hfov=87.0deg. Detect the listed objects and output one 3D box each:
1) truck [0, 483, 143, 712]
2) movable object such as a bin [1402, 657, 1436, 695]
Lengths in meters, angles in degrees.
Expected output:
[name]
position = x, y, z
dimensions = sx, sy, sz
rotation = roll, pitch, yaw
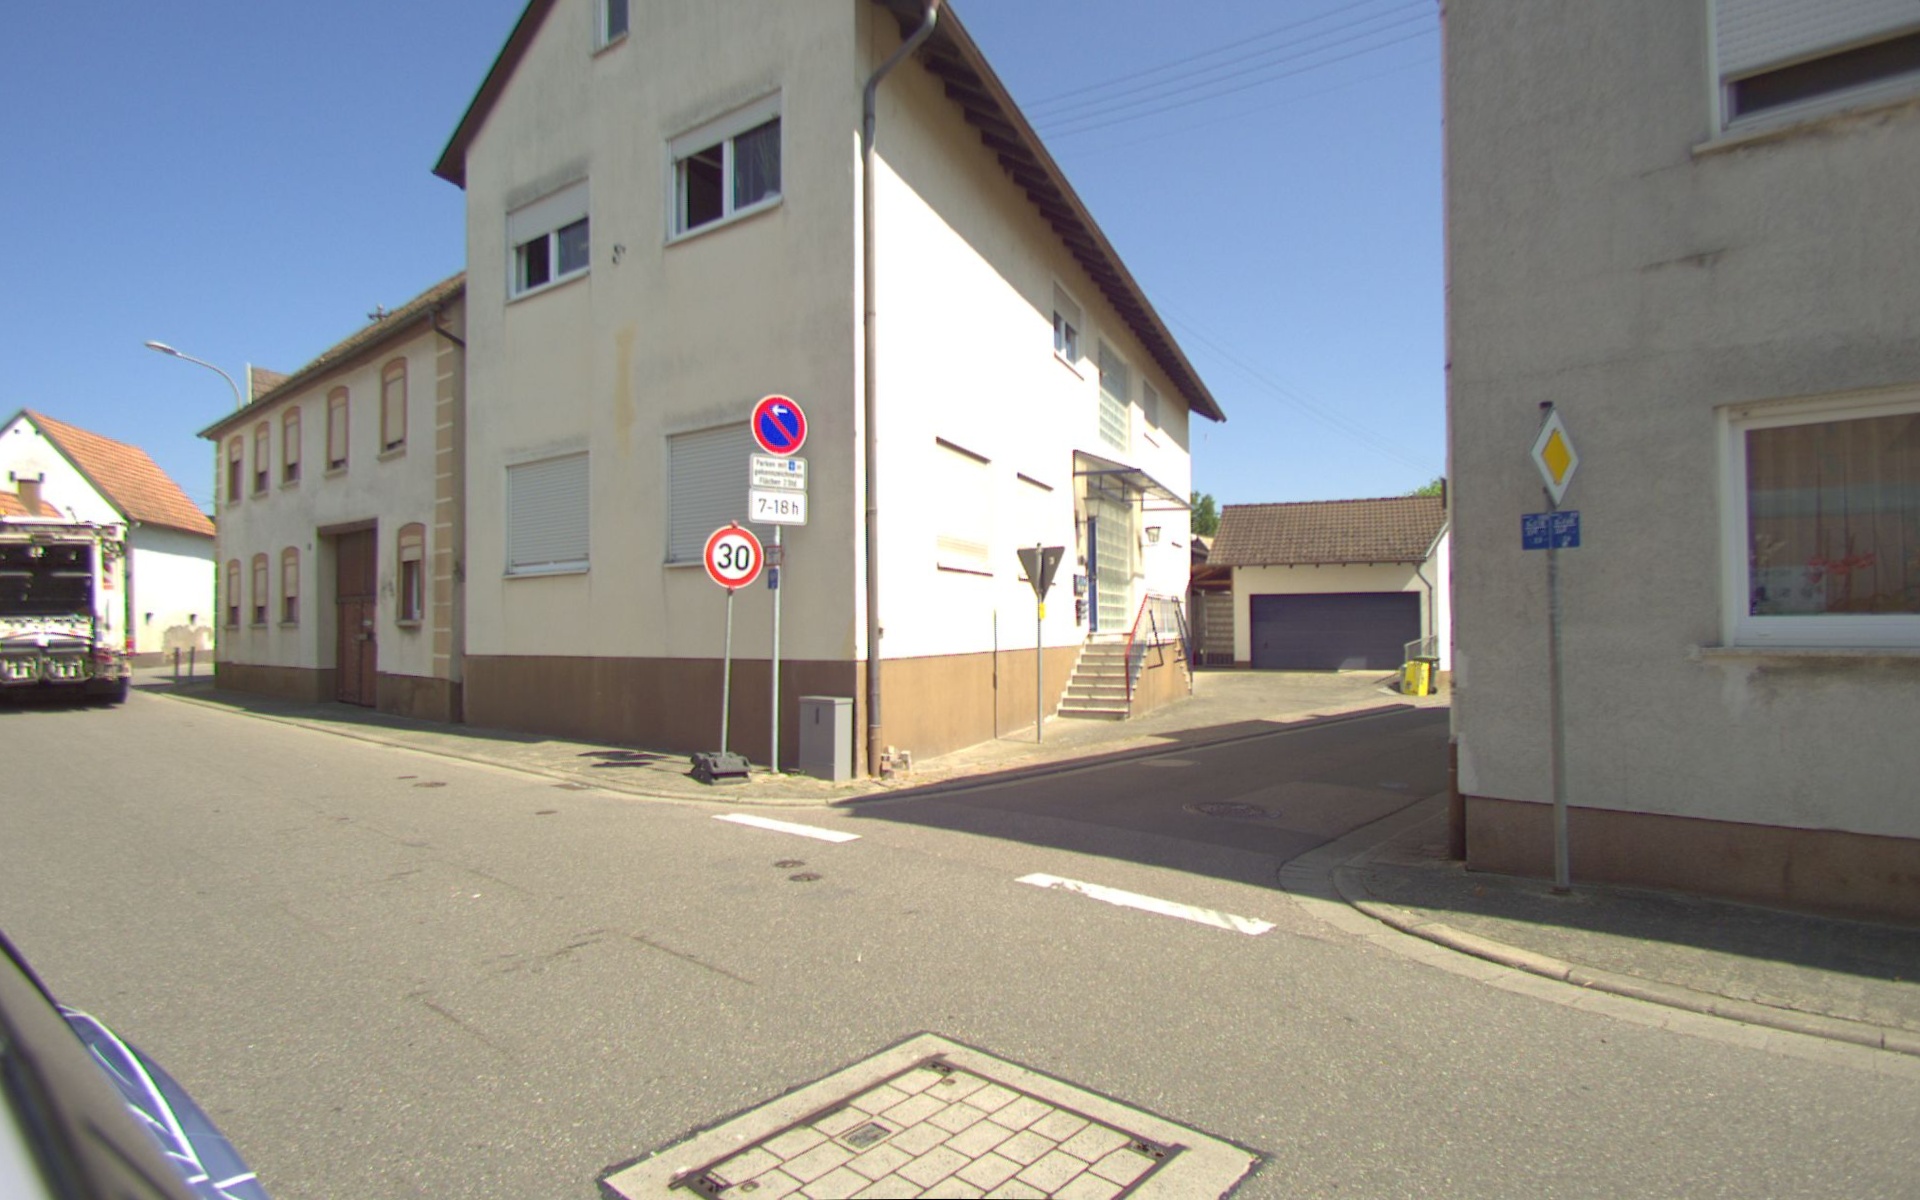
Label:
[truck]
position = -18.974, 0.124, 21.224
dimensions = 2.661, 3.779, 10.887
rotation = 2, -3, -39
[movable object such as a bin]
position = 11.105, 1.828, 24.492
dimensions = 0.584, 0.850, 0.632
rotation = 1, -1, 40
